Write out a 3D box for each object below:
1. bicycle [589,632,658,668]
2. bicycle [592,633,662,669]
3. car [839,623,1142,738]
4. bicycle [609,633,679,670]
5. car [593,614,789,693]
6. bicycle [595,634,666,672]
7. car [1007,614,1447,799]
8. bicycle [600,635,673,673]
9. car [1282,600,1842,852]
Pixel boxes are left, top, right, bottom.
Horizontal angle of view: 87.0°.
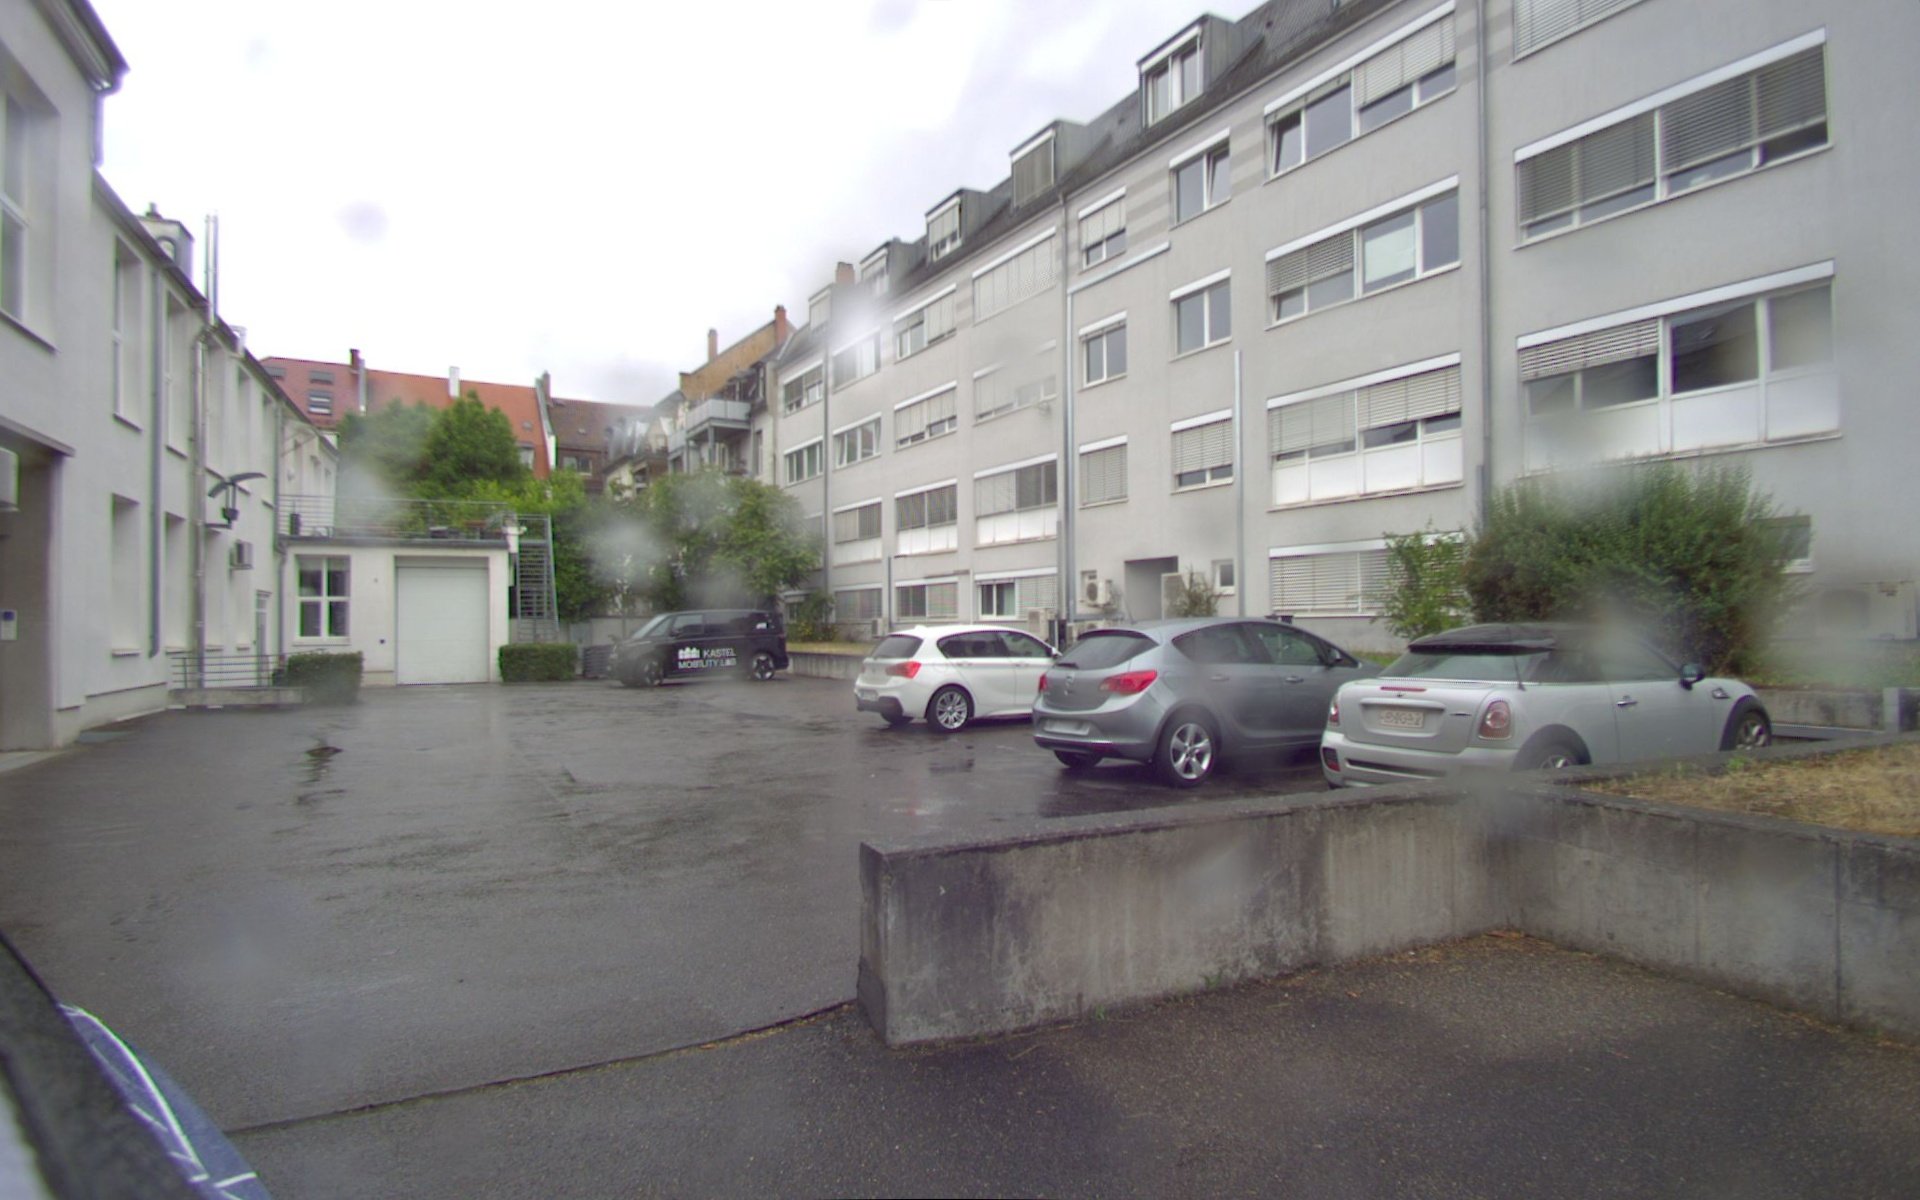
[{"bbox_3d":[-12.088,1.780,36.380,2.280,1.195,0.645,0,0,-25],"label":"bicycle"},{"bbox_3d":[-11.773,1.787,35.826,2.280,1.195,0.645,0,0,-25],"label":"bicycle"},{"bbox_3d":[0.478,1.071,14.743,4.081,1.444,1.758,0,-1,-30],"label":"car"},{"bbox_3d":[-11.098,1.791,35.583,2.280,1.195,0.645,0,0,-25],"label":"bicycle"},{"bbox_3d":[-6.994,1.347,26.449,4.553,1.851,1.994,0,-3,-33],"label":"car"},{"bbox_3d":[-11.306,1.799,34.750,2.280,1.195,0.645,0,0,-25],"label":"bicycle"},{"bbox_3d":[2.701,0.919,10.081,4.107,1.495,1.827,0,-3,-30],"label":"car"},{"bbox_3d":[-10.893,1.807,34.059,2.280,1.195,0.645,0,0,-25],"label":"bicycle"},{"bbox_3d":[4.709,0.794,7.842,4.107,1.343,1.828,-3,-1,-29],"label":"car"}]
